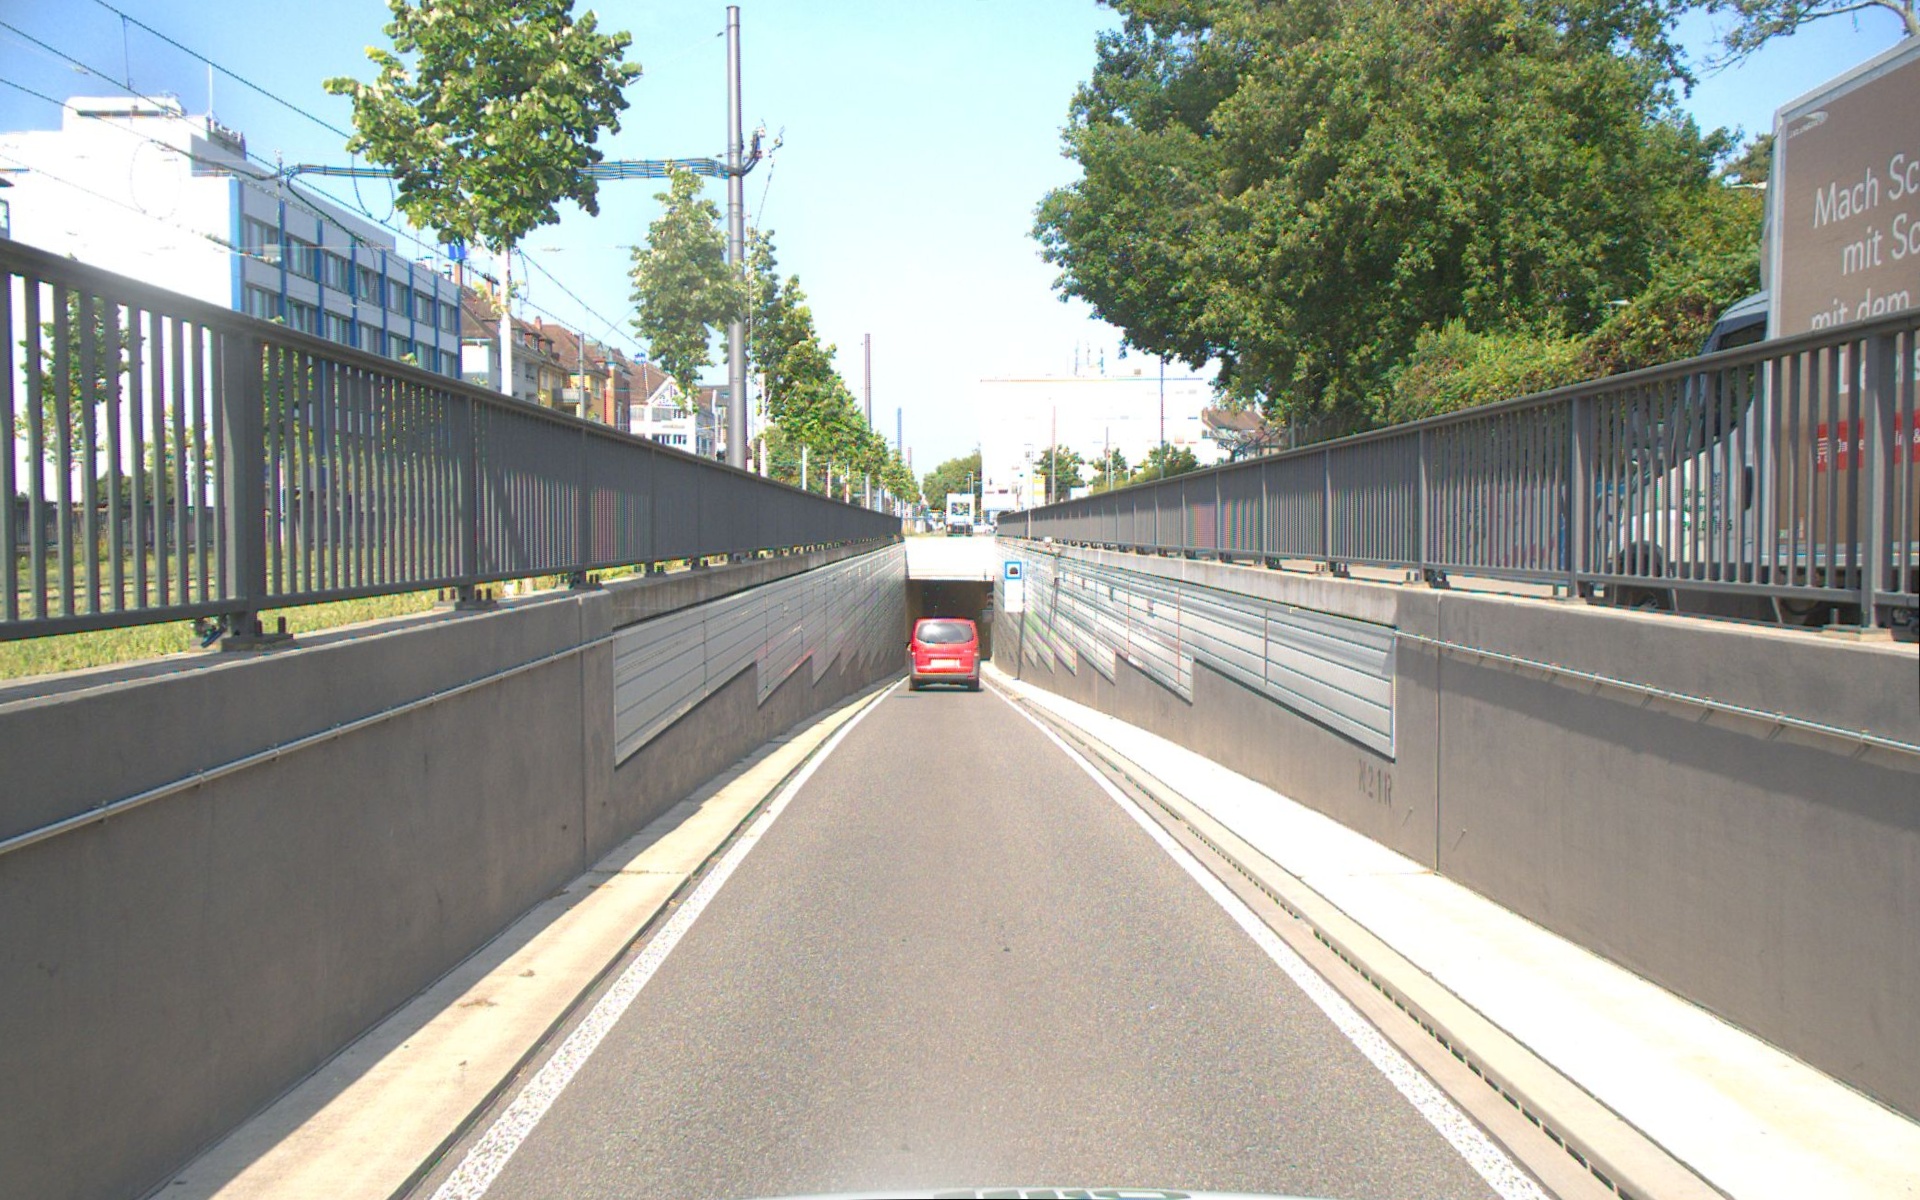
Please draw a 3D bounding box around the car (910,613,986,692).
[{"bbox_3d":[-0.335,1.352,44.170,1.862,1.892,3.999,2,0,-1],"label":"car"}]

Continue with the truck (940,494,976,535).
[{"bbox_3d":[-0.222,-8.151,158.503,3.322,3.790,10.452,0,2,-1],"label":"truck"}]

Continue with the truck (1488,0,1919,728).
[{"bbox_3d":[5.168,-1.022,7.915,2.452,3.113,7.819,2,2,-2],"label":"truck"}]
